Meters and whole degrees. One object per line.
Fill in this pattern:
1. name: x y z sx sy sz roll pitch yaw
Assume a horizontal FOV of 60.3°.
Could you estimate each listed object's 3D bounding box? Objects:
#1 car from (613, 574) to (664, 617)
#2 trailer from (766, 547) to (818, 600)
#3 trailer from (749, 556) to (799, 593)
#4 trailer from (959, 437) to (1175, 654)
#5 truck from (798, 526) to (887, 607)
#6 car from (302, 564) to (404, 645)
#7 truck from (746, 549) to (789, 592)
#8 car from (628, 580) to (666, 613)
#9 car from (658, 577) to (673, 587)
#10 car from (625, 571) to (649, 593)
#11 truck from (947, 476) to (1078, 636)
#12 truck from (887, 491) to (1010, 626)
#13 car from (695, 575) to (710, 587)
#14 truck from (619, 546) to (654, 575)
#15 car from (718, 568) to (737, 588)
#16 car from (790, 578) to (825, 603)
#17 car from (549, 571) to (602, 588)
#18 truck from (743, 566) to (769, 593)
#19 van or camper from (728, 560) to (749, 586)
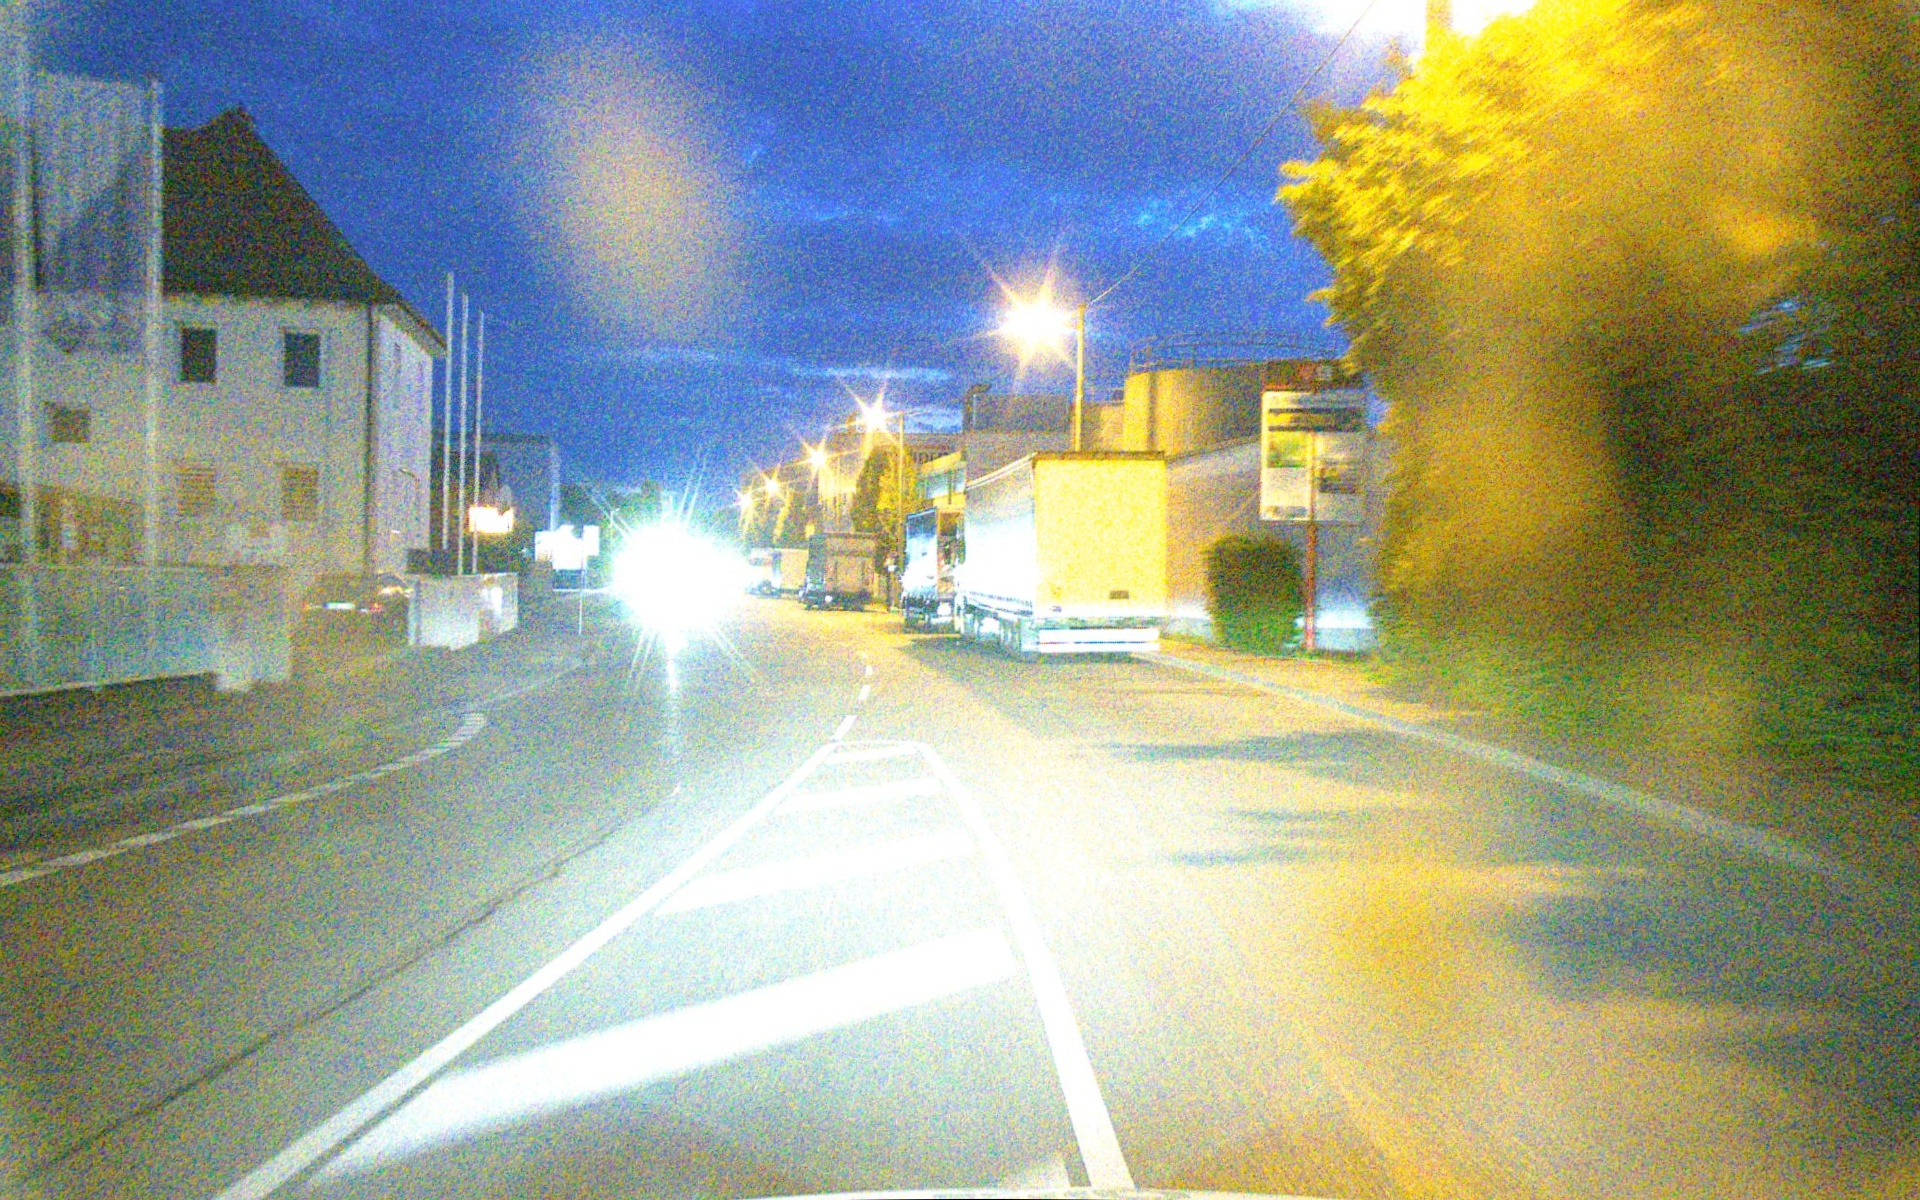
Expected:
1. car: -13.354 -0.205 68.520 1.958 1.665 4.760 1 0 -12
2. trailer: -11.856 -1.827 116.055 2.640 3.525 7.783 1 0 -13
3. trailer: -14.919 -2.000 132.051 3.127 2.797 10.687 -1 1 -11
4. trailer: 2.024 -1.091 38.071 2.754 4.053 13.958 -1 1 -5
5. truck: -6.383 -1.719 88.197 3.458 4.053 10.314 -1 0 -11
6. car: -12.324 0.049 33.730 1.800 1.520 4.503 1 1 -19
7. truck: -16.244 -2.423 139.048 3.095 3.524 6.656 -1 0 -11
8. car: -14.007 -0.178 73.972 1.573 1.377 3.989 1 1 -11
9. car: -40.608 -2.485 228.125 1.958 1.422 3.990 1 1 -11
10. car: -28.047 -1.578 143.782 1.958 1.825 3.990 1 1 -11
11. truck: 1.327 -1.142 45.127 2.775 4.053 6.042 -1 0 -6
12. truck: -0.560 -1.300 55.202 2.777 4.053 10.324 -1 0 -8
13. car: -37.588 -2.765 241.242 1.958 1.713 3.990 1 1 -11
14. truck: -42.901 -5.175 218.989 3.827 3.684 8.225 1 1 -16
15. car: -26.976 -2.550 192.137 1.958 2.183 3.990 1 1 -11
16. car: -9.562 -0.609 103.599 1.819 1.545 3.809 -1 0 -10
17. car: -36.820 -1.970 158.566 4.572 1.511 1.977 0 1 -34
18. truck: -18.632 -1.867 150.951 1.958 2.449 5.279 1 1 -11
19. van or camper: -23.035 -2.768 172.172 1.957 2.626 4.903 1 1 -10
